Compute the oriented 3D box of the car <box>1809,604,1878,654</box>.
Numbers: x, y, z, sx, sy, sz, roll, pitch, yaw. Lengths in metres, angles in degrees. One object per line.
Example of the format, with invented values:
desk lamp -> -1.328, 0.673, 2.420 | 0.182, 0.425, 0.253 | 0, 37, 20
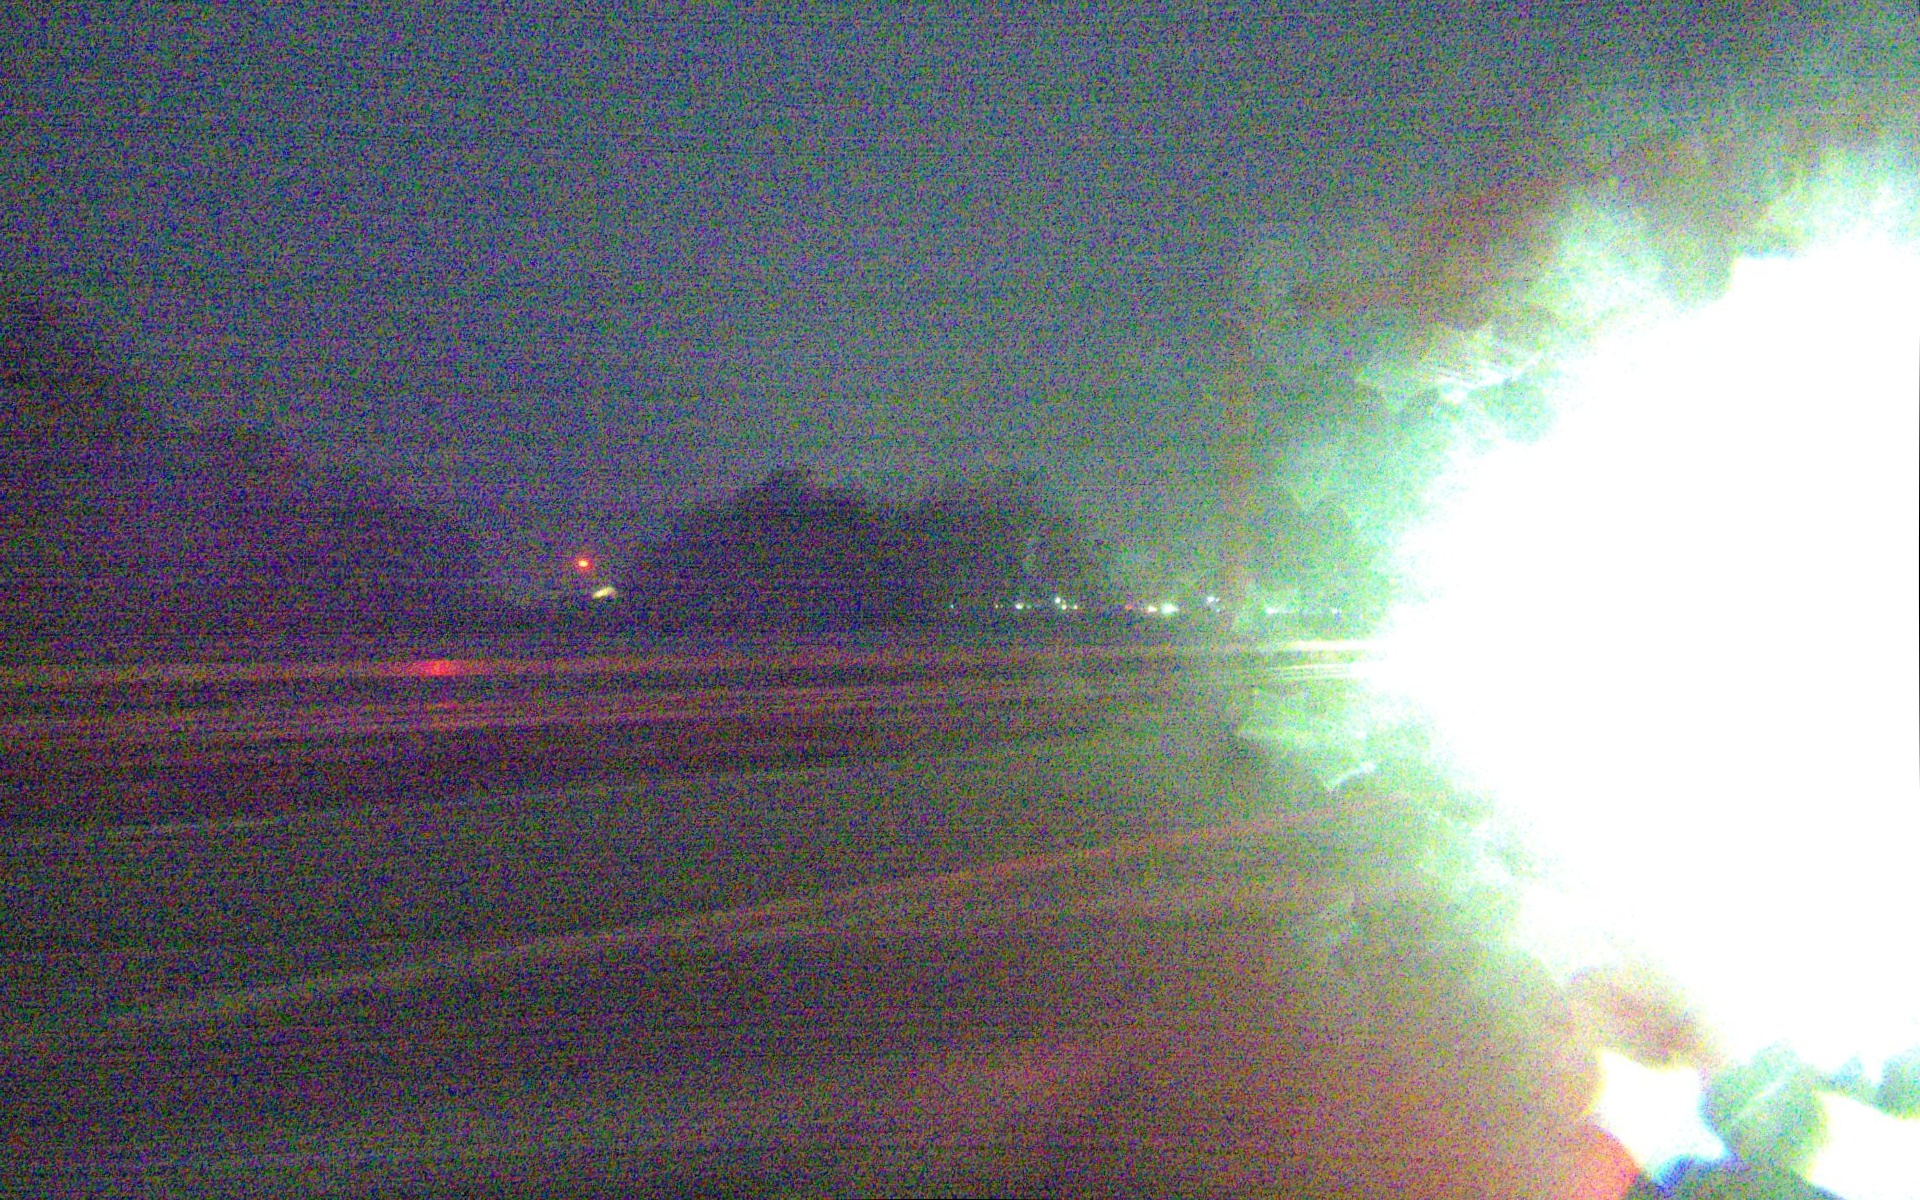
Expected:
car -> 32.440, 1.064, 37.152 | 1.735, 1.706, 4.057 | -4, -4, 42
